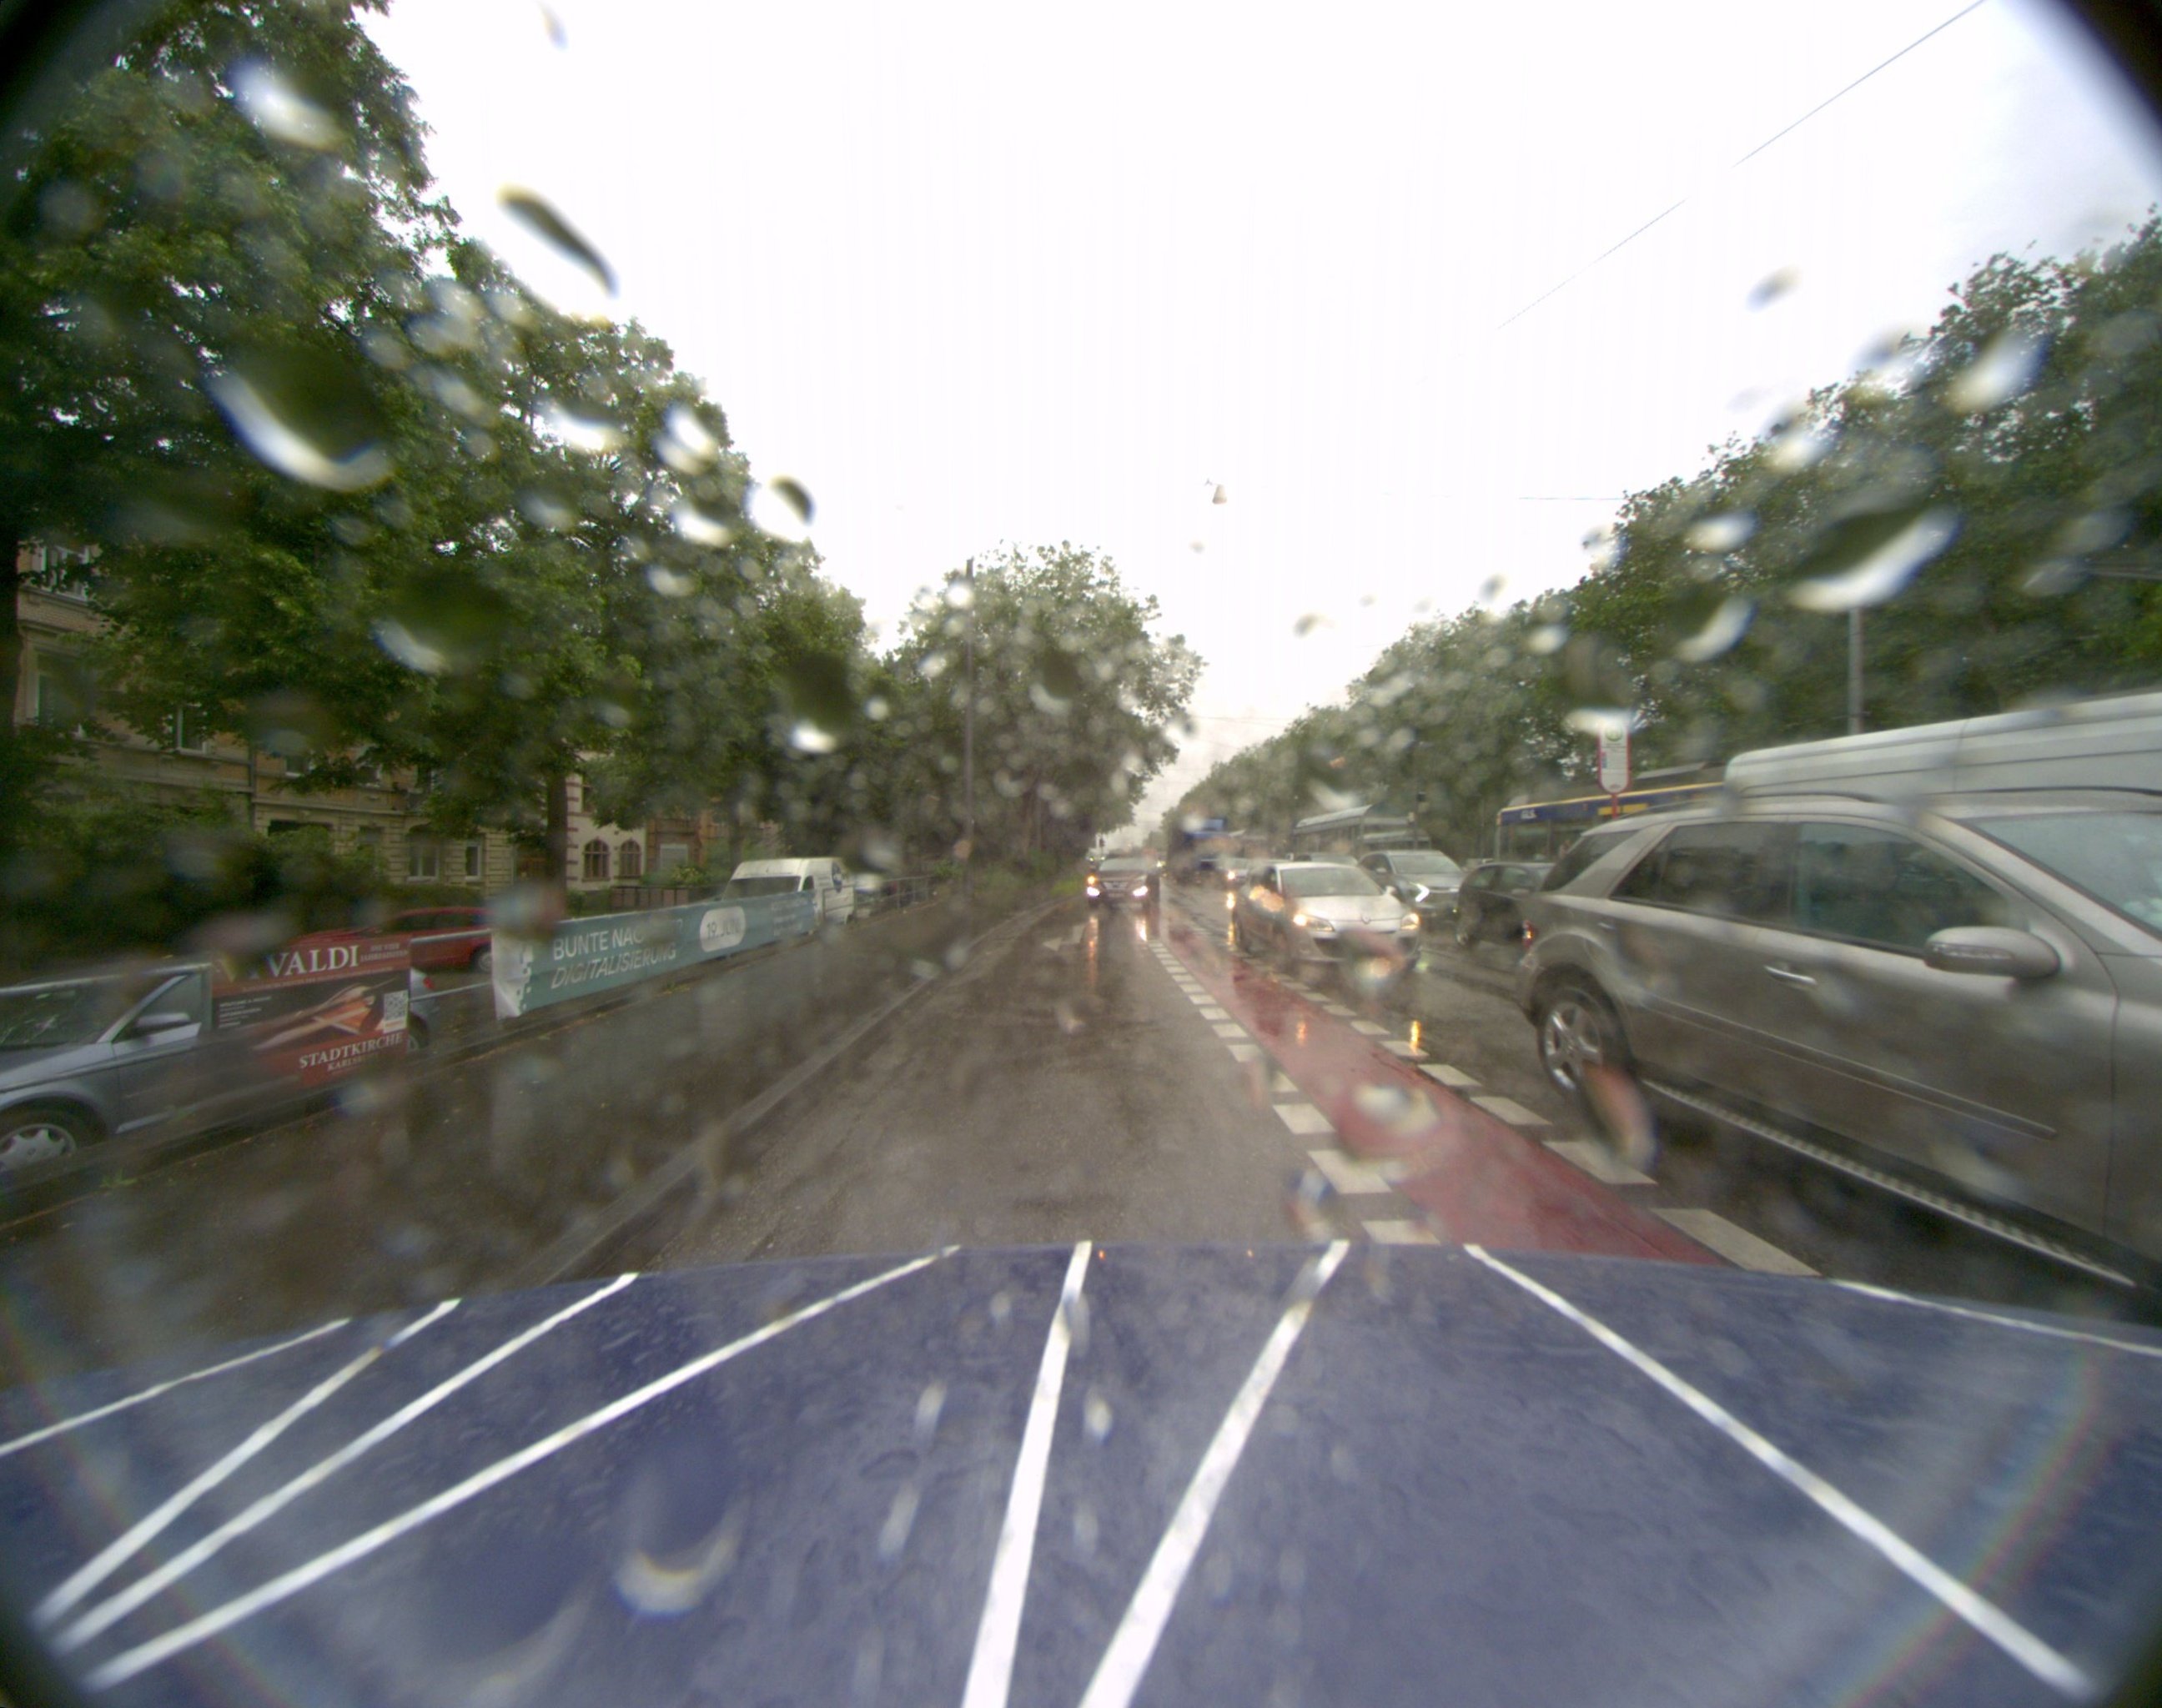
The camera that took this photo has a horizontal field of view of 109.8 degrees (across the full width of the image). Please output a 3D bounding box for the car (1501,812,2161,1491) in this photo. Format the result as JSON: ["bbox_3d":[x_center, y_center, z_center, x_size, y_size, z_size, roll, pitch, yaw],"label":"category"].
[{"bbox_3d":[3.791,0.742,2.756,2.030,1.760,4.462,-2,0,0],"label":"car"}]

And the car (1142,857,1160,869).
[{"bbox_3d":[7.333,0.946,79.764,1.467,1.185,3.615,-2,0,0],"label":"car"}]

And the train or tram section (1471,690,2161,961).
[{"bbox_3d":[13.885,-0.418,16.859,3.522,3.492,13.659,-2,0,1],"label":"train or tram section"}]

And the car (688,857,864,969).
[{"bbox_3d":[-7.699,1.331,20.110,2.214,2.406,6.157,-2,0,-2],"label":"car"}]

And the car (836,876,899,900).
[{"bbox_3d":[-15.574,2.453,55.439,4.007,1.455,1.908,-2,0,-34],"label":"car"}]

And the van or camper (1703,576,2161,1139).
[{"bbox_3d":[7.073,0.016,4.347,2.164,3.123,5.850,0,0,-1],"label":"van or camper"}]

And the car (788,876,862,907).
[{"bbox_3d":[-15.712,2.267,46.677,4.006,1.599,1.821,-2,0,-31],"label":"car"}]

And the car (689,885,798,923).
[{"bbox_3d":[-14.852,2.157,33.513,4.269,1.372,1.687,-1,1,-27],"label":"car"}]

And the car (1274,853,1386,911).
[{"bbox_3d":[7.574,0.790,23.595,1.999,1.611,4.320,-1,0,-1],"label":"car"}]

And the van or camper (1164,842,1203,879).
[{"bbox_3d":[7.643,0.462,57.125,1.998,2.555,6.431,-2,0,0],"label":"van or camper"}]

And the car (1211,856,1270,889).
[{"bbox_3d":[7.592,0.842,36.506,1.895,1.478,4.077,-1,0,-1],"label":"car"}]

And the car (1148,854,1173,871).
[{"bbox_3d":[7.630,0.790,73.341,1.998,1.568,4.000,-2,0,1],"label":"car"}]

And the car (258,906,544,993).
[{"bbox_3d":[-14.627,1.999,16.761,4.439,1.444,1.894,0,-1,-32],"label":"car"}]

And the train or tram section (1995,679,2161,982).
[{"bbox_3d":[13.781,-0.312,2.284,3.549,3.393,15.504,-2,0,1],"label":"train or tram section"}]

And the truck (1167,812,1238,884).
[{"bbox_3d":[7.184,-0.339,46.344,2.545,3.866,9.810,1,0,-1],"label":"truck"}]

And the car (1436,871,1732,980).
[{"bbox_3d":[6.744,0.862,10.777,1.467,1.111,4.087,-2,0,0],"label":"car"}]

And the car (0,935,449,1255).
[{"bbox_3d":[-7.232,1.609,5.595,1.736,1.530,4.074,-2,0,-1],"label":"car"}]

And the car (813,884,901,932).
[{"bbox_3d":[-7.875,1.861,27.167,1.972,1.345,4.383,-2,0,-3],"label":"car"}]

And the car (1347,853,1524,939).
[{"bbox_3d":[7.491,0.789,16.613,1.919,1.614,4.455,0,0,2],"label":"car"}]

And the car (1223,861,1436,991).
[{"bbox_3d":[3.364,0.884,11.138,1.772,1.469,4.000,-2,0,0],"label":"car"}]

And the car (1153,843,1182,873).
[{"bbox_3d":[7.428,0.324,65.823,1.998,2.412,5.728,-2,0,3],"label":"car"}]

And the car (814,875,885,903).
[{"bbox_3d":[-15.287,2.277,50.234,4.007,1.557,1.995,-2,0,-34],"label":"car"}]

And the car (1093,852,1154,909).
[{"bbox_3d":[1.321,0.776,24.244,1.756,1.657,3.678,-2,0,2],"label":"car"}]

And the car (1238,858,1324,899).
[{"bbox_3d":[7.532,0.886,29.072,1.999,1.386,4.606,0,0,-1],"label":"car"}]
